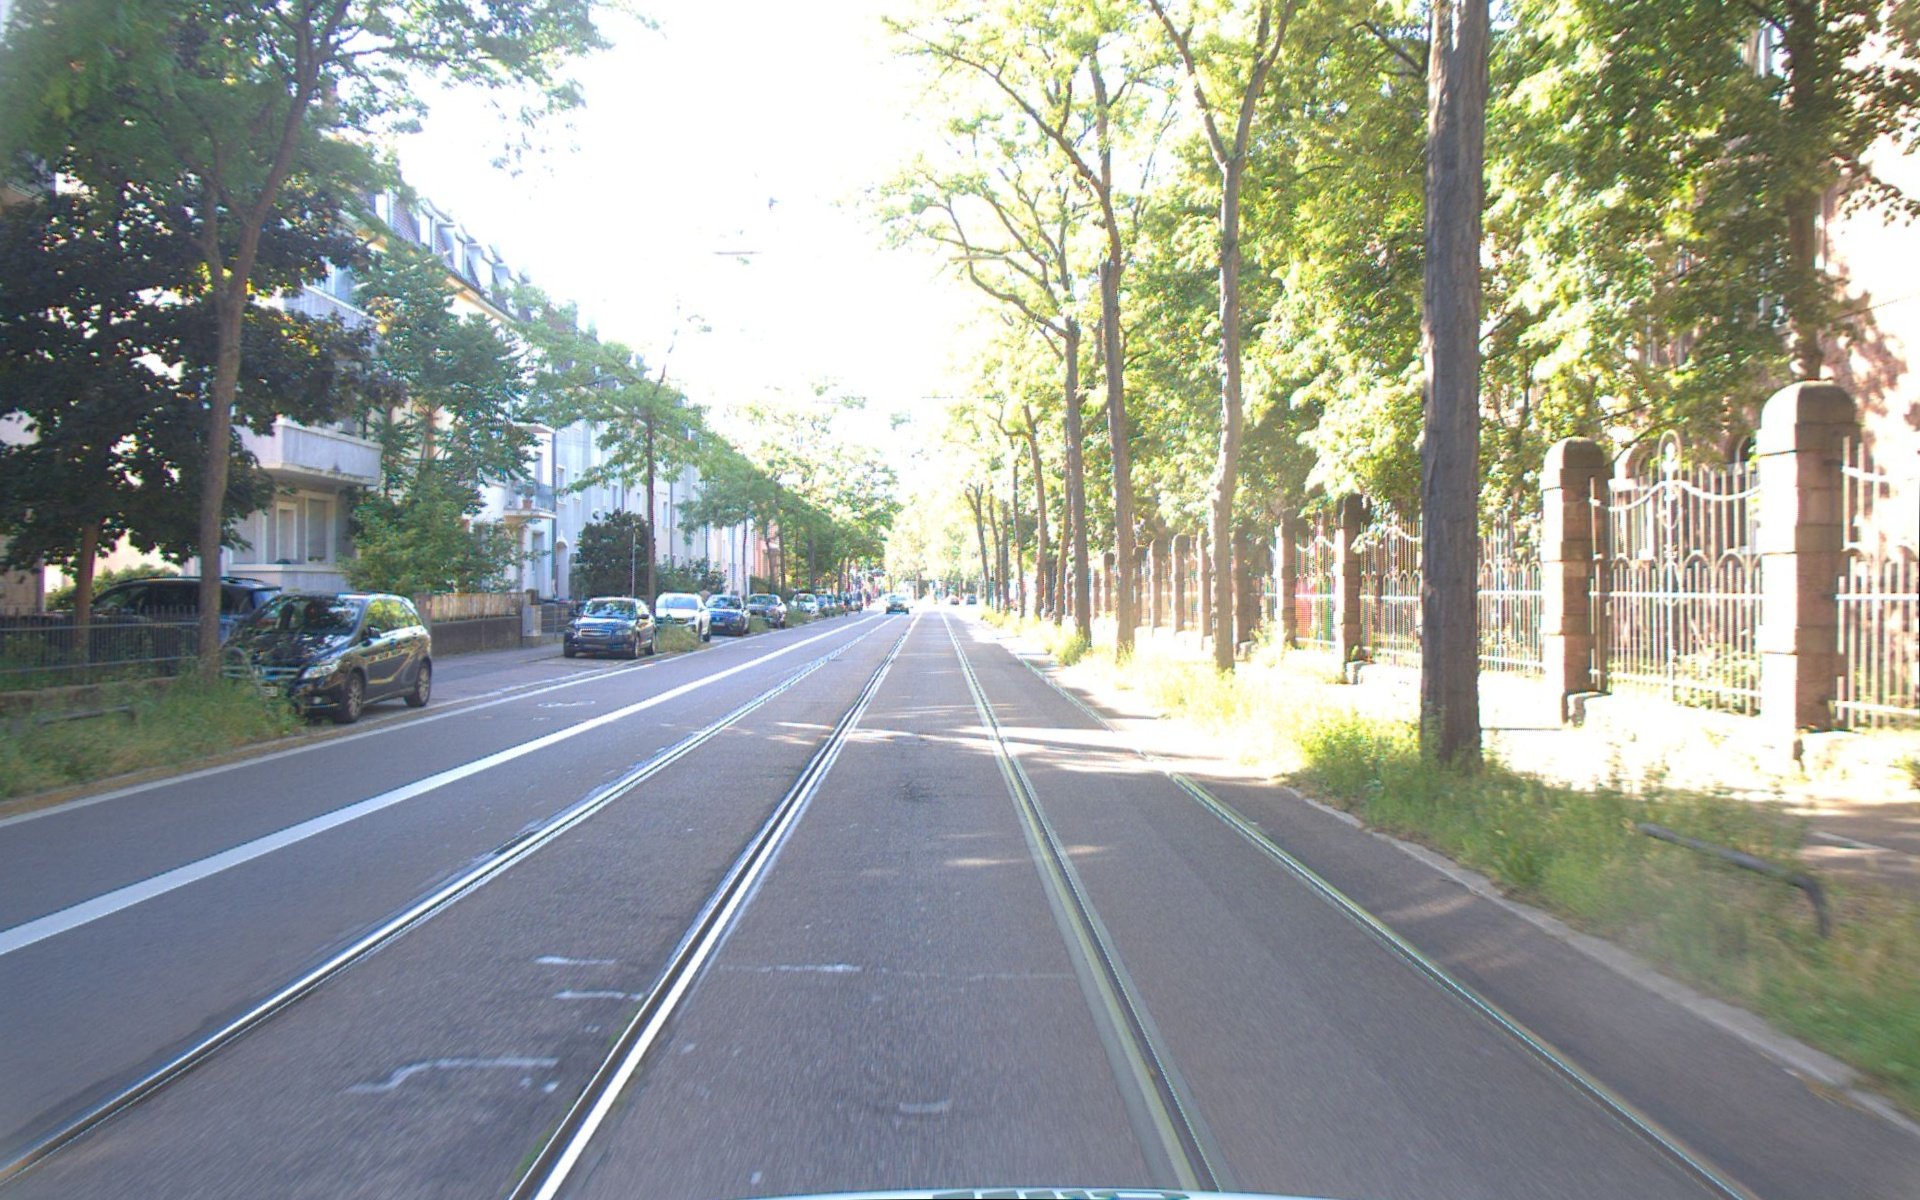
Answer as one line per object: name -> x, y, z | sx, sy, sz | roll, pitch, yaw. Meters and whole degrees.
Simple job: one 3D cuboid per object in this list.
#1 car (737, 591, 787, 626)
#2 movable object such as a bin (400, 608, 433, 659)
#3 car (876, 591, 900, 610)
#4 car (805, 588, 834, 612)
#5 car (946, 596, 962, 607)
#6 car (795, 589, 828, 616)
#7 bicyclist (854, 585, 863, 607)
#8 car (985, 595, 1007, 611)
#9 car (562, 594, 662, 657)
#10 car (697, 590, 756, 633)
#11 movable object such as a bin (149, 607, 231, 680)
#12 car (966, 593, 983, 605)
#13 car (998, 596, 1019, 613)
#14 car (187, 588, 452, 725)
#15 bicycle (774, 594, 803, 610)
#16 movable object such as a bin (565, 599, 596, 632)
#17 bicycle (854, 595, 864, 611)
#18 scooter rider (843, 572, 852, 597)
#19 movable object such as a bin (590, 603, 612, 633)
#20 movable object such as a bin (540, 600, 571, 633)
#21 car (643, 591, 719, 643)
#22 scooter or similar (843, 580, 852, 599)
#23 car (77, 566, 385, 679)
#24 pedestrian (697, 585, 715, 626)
car -> -8.972, 0.358, 75.270 | 1.780, 1.511, 4.205 | 1, 0, -1
movable object such as a bin -> -11.565, 0.710, 35.188 | 0.526, 1.084, 0.510 | 0, 0, -1
car -> -5.461, 0.024, 125.670 | 1.722, 1.464, 4.522 | 0, 0, -2
car -> -9.326, -0.032, 110.030 | 1.653, 1.511, 3.758 | 3, 0, -2
car -> -0.906, 0.231, 240.353 | 1.905, 1.638, 3.995 | 0, 0, -6
car -> -9.129, 0.147, 101.900 | 1.668, 1.511, 4.078 | 3, 0, -1
bicyclist -> -7.923, -0.325, 128.949 | 0.613, 1.667, 0.940 | -2, 0, -1
car -> 3.907, 0.318, 178.489 | 1.905, 1.638, 3.995 | 0, 0, -6
car -> -8.526, 0.582, 40.856 | 1.671, 1.431, 4.332 | 1, 0, -2
car -> -8.817, 0.395, 62.714 | 1.722, 1.537, 4.437 | 1, 0, -2
movable object such as a bin -> -11.627, 0.646, 24.989 | 0.857, 1.084, 0.814 | 0, 0, -1
car -> 2.007, -0.091, 226.353 | 1.905, 1.638, 3.995 | 0, 0, -6
car -> 4.868, 0.465, 167.347 | 1.802, 1.684, 3.577 | 0, 0, -3
car -> -8.198, 0.649, 21.636 | 1.740, 1.568, 4.485 | 1, 0, -1
bicycle -> -14.144, 0.130, 136.338 | 2.236, 1.219, 0.560 | 3, 1, 6
movable object such as a bin -> -12.862, 0.516, 56.031 | 0.827, 1.064, 0.733 | 2, 0, 2
bicycle -> -7.898, 0.235, 129.026 | 0.614, 1.198, 1.913 | -3, 0, -1
scooter rider -> -7.847, -1.076, 115.204 | 0.486, 1.729, 0.786 | -3, 0, -1
movable object such as a bin -> -12.158, 0.593, 56.023 | 0.548, 0.992, 0.733 | 2, 0, 2
movable object such as a bin -> -13.707, 0.566, 56.041 | 0.827, 1.064, 0.733 | 2, 0, 2
car -> -8.760, 0.499, 52.196 | 1.780, 1.537, 4.369 | 1, 0, -2
scooter or similar -> -7.839, -0.714, 115.201 | 0.510, 1.320, 1.377 | -3, 0, -1
car -> -11.730, 0.351, 26.843 | 4.082, 1.688, 1.982 | 1, 0, -3
pedestrian -> -11.520, 0.249, 75.006 | 0.677, 1.833, 0.813 | 0, 0, -1
